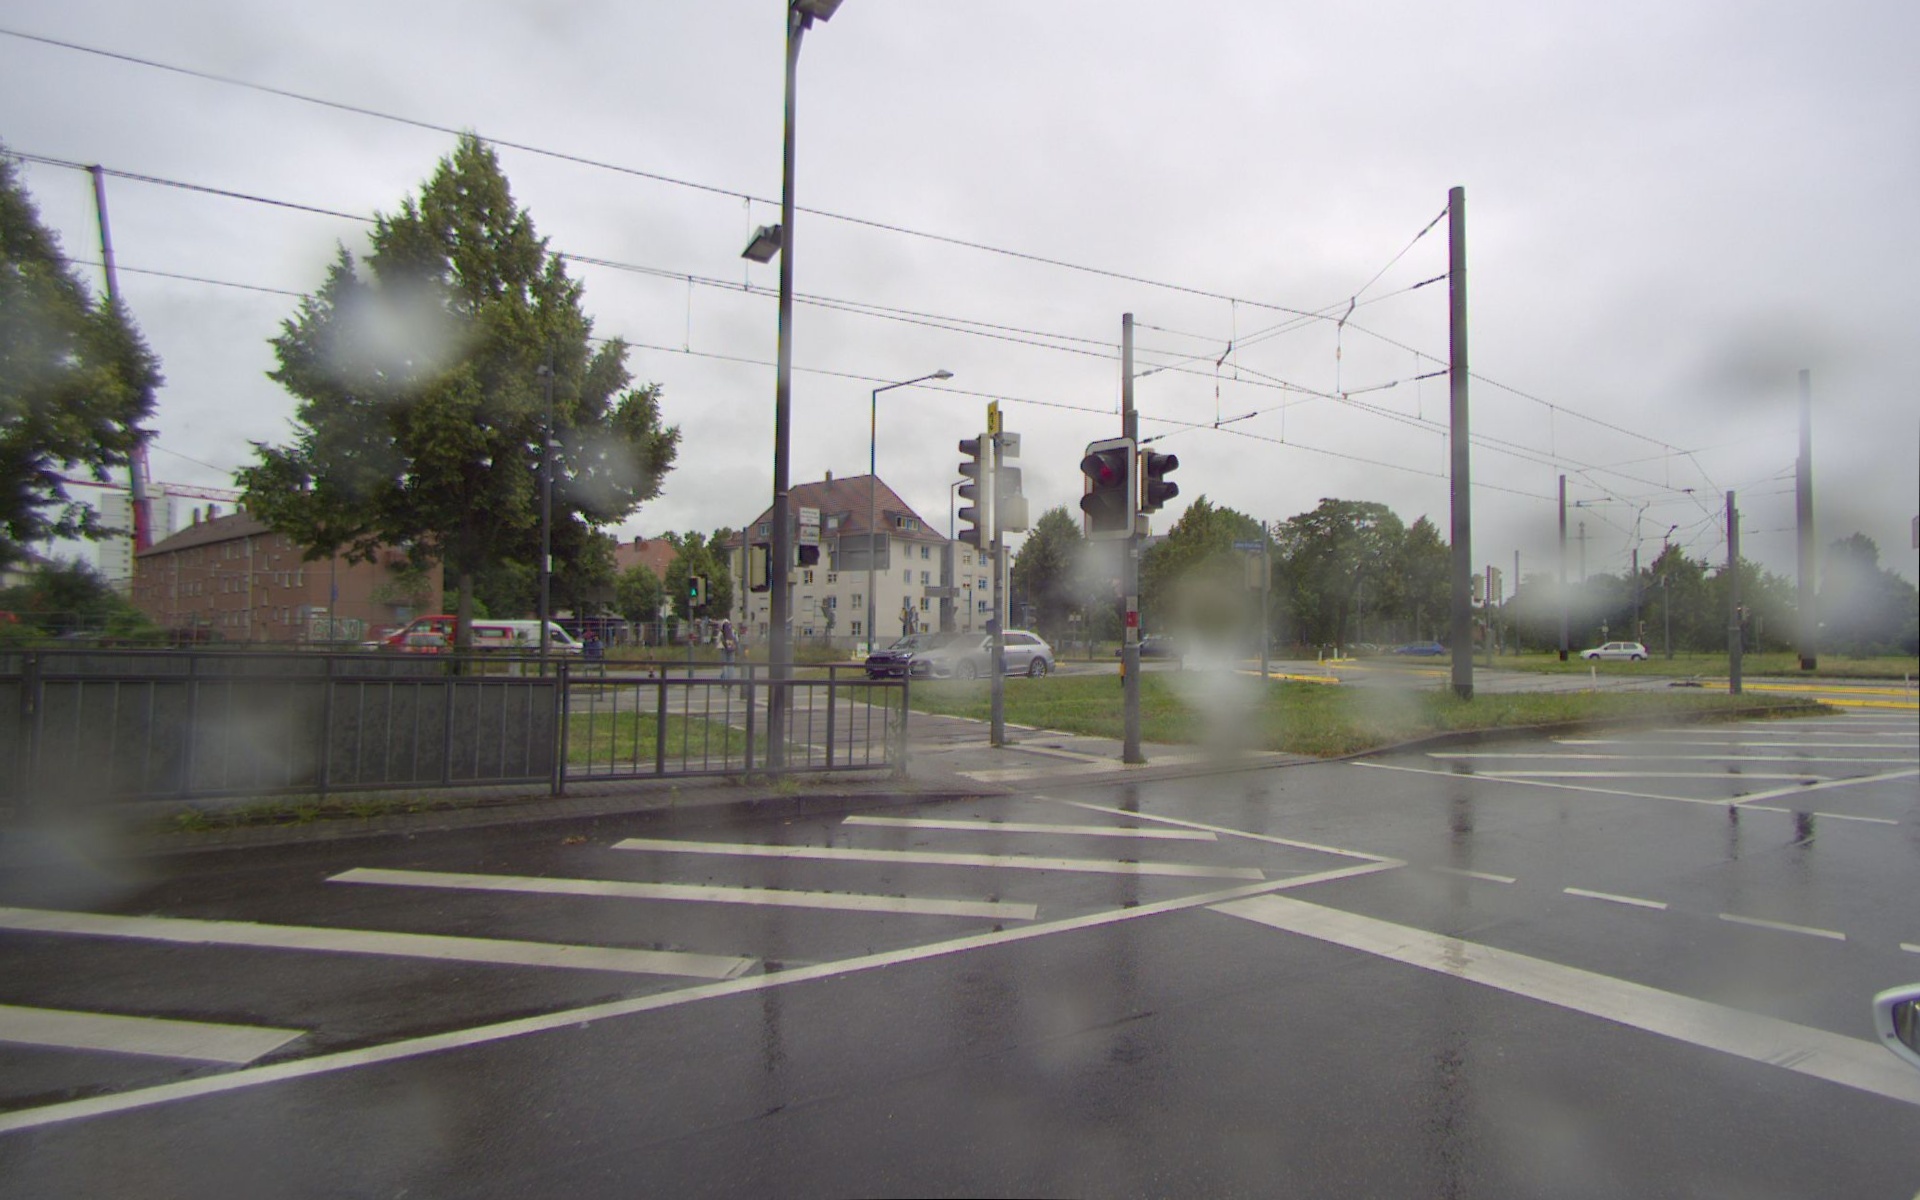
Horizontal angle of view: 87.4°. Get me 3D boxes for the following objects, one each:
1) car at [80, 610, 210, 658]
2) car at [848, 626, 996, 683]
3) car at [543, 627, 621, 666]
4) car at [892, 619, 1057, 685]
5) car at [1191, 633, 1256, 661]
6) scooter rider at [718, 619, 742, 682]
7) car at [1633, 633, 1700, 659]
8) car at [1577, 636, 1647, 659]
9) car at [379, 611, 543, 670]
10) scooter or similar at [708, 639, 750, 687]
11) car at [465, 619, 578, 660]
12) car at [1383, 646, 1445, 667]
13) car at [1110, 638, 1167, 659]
[{"bbox_3d":[-45.214,1.930,55.918,5.441,2.485,1.980,3,0,-36],"label":"car"},{"bbox_3d":[-1.117,1.655,31.152,4.371,1.649,1.975,2,-2,-42],"label":"car"},{"bbox_3d":[-40.150,4.824,106.454,10.793,3.770,2.447,0,-2,39],"label":"car"},{"bbox_3d":[0.454,1.374,27.384,4.371,1.649,1.975,2,-2,-42],"label":"car"},{"bbox_3d":[14.598,2.594,55.576,4.084,1.473,1.603,2,-2,-43],"label":"car"},{"bbox_3d":[-6.374,1.406,27.824,0.431,1.731,0.526,2,-4,-43],"label":"scooter rider"},{"bbox_3d":[54.757,3.540,77.875,3.921,1.840,1.681,2,0,-1],"label":"car"},{"bbox_3d":[45.120,3.280,69.636,3.914,1.473,1.621,-1,-2,28],"label":"car"},{"bbox_3d":[-22.216,1.812,45.004,6.389,2.502,1.616,1,-2,-20],"label":"car"},{"bbox_3d":[-6.422,1.738,27.873,0.444,1.276,1.571,1,-3,-42],"label":"scooter or similar"},{"bbox_3d":[-25.922,2.341,59.627,6.004,2.308,1.617,1,-2,-18],"label":"car"},{"bbox_3d":[33.468,4.120,74.081,3.906,1.473,1.625,0,-2,10],"label":"car"},{"bbox_3d":[12.733,3.476,71.875,3.907,1.473,1.624,0,-2,4],"label":"car"}]
